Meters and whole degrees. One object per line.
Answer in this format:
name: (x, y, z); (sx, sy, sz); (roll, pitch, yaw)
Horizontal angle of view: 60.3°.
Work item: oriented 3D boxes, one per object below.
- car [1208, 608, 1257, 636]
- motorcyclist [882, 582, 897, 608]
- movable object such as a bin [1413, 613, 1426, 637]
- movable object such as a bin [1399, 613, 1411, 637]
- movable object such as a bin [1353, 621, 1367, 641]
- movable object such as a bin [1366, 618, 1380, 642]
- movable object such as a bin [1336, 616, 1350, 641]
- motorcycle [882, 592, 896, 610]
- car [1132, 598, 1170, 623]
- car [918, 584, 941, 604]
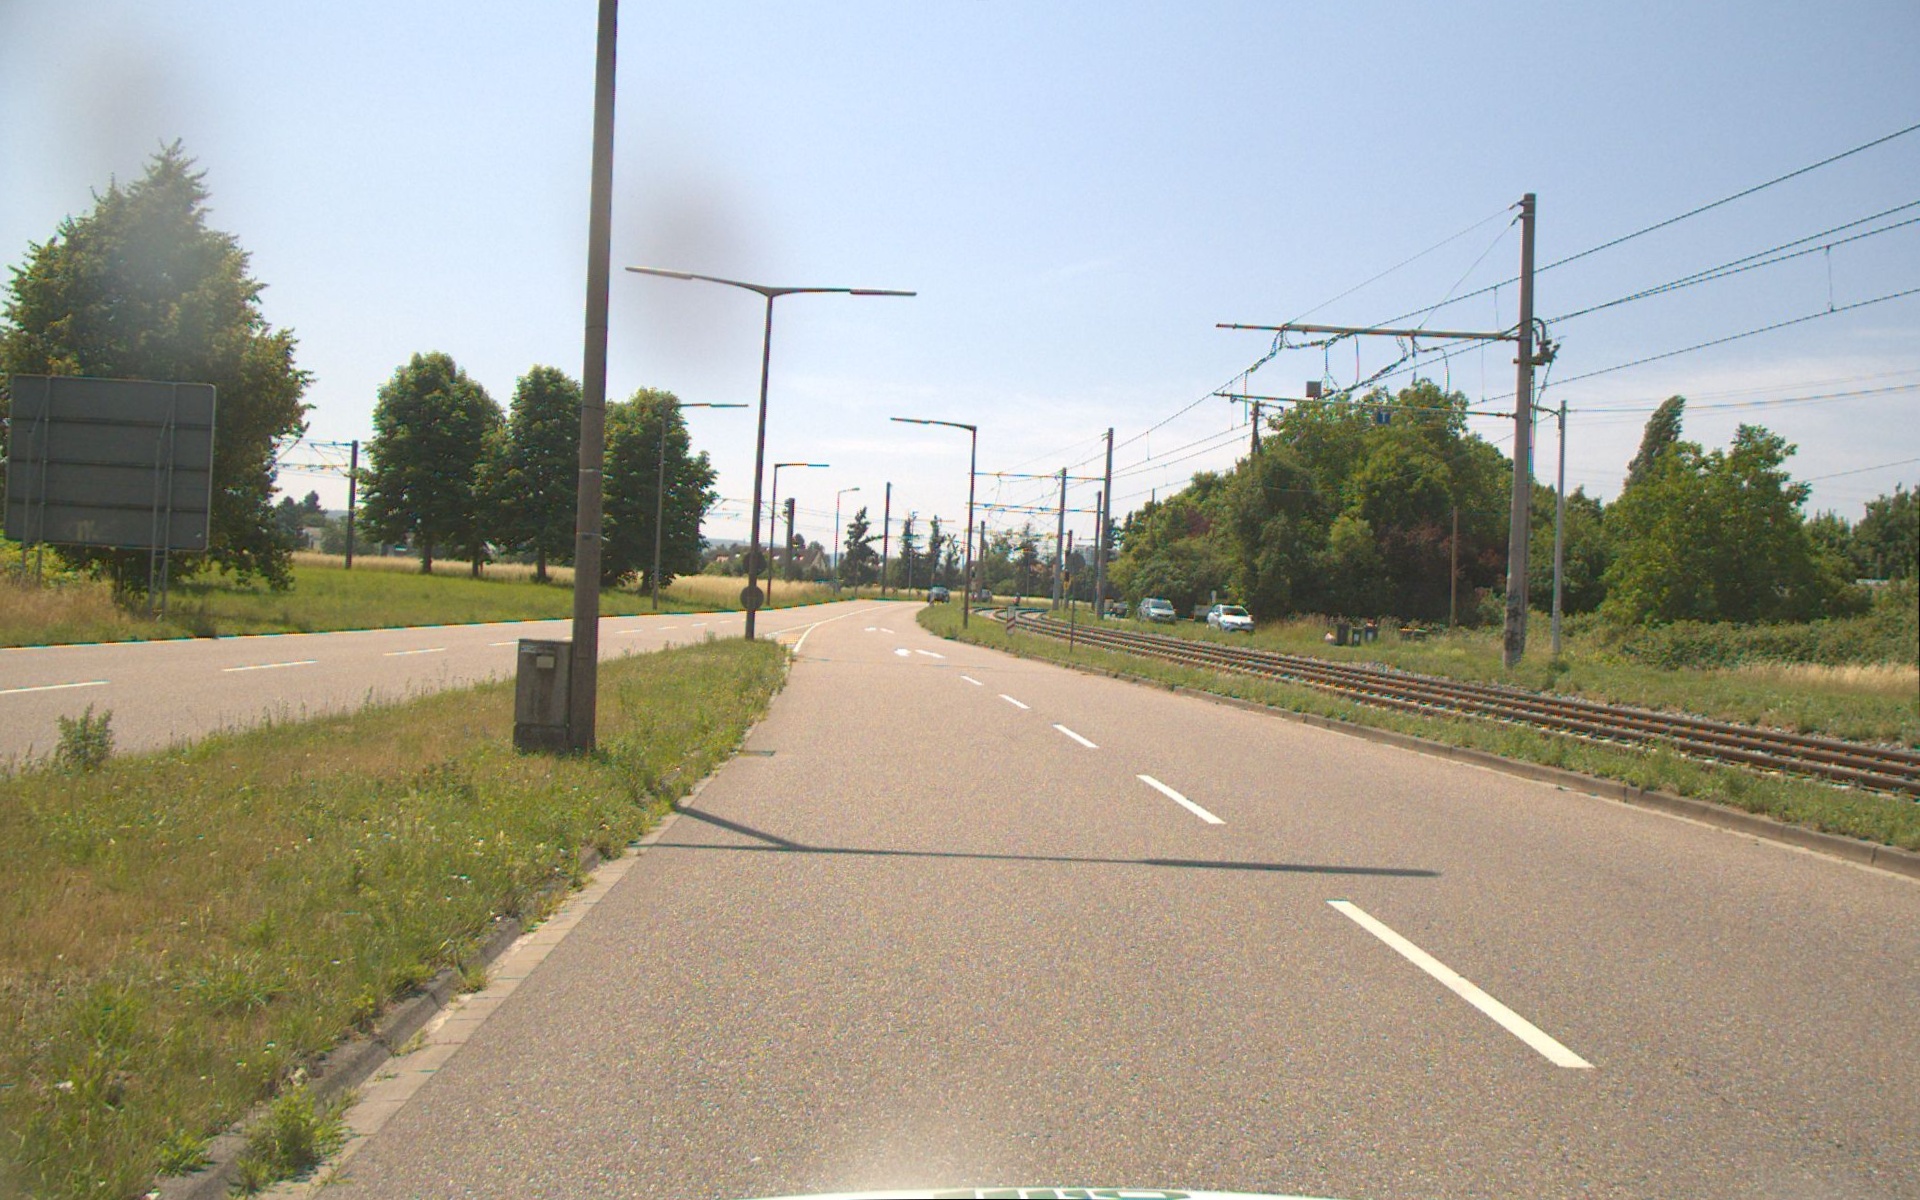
car: (13.227, 1.059, 80.398); (1.532, 1.200, 3.076); (2, 0, -6)
motorcyclist: (-6.767, -0.478, 158.249); (1.205, 2.391, 1.107); (4, -1, 3)
movable object such as a bin: (20.269, 1.104, 72.926); (0.439, 1.068, 0.500); (2, 0, 9)
movable object such as a bin: (19.660, 1.098, 73.058); (0.439, 1.068, 0.500); (2, 0, 9)
movable object such as a bin: (17.797, 1.386, 73.659); (0.513, 0.879, 0.500); (2, 0, 7)
movable object such as a bin: (18.311, 1.329, 73.362); (0.513, 1.068, 0.500); (2, 0, 7)
movable object such as a bin: (17.078, 1.279, 73.738); (0.513, 1.068, 0.500); (2, 0, 7)
motorcycle: (-6.786, 0.074, 158.347); (0.969, 1.608, 3.402); (4, -1, 3)
car: (11.986, 0.638, 104.025); (1.639, 1.421, 3.647); (4, 0, -4)
car: (-2.967, -0.565, 162.865); (1.374, 1.802, 3.256); (4, -1, 13)
